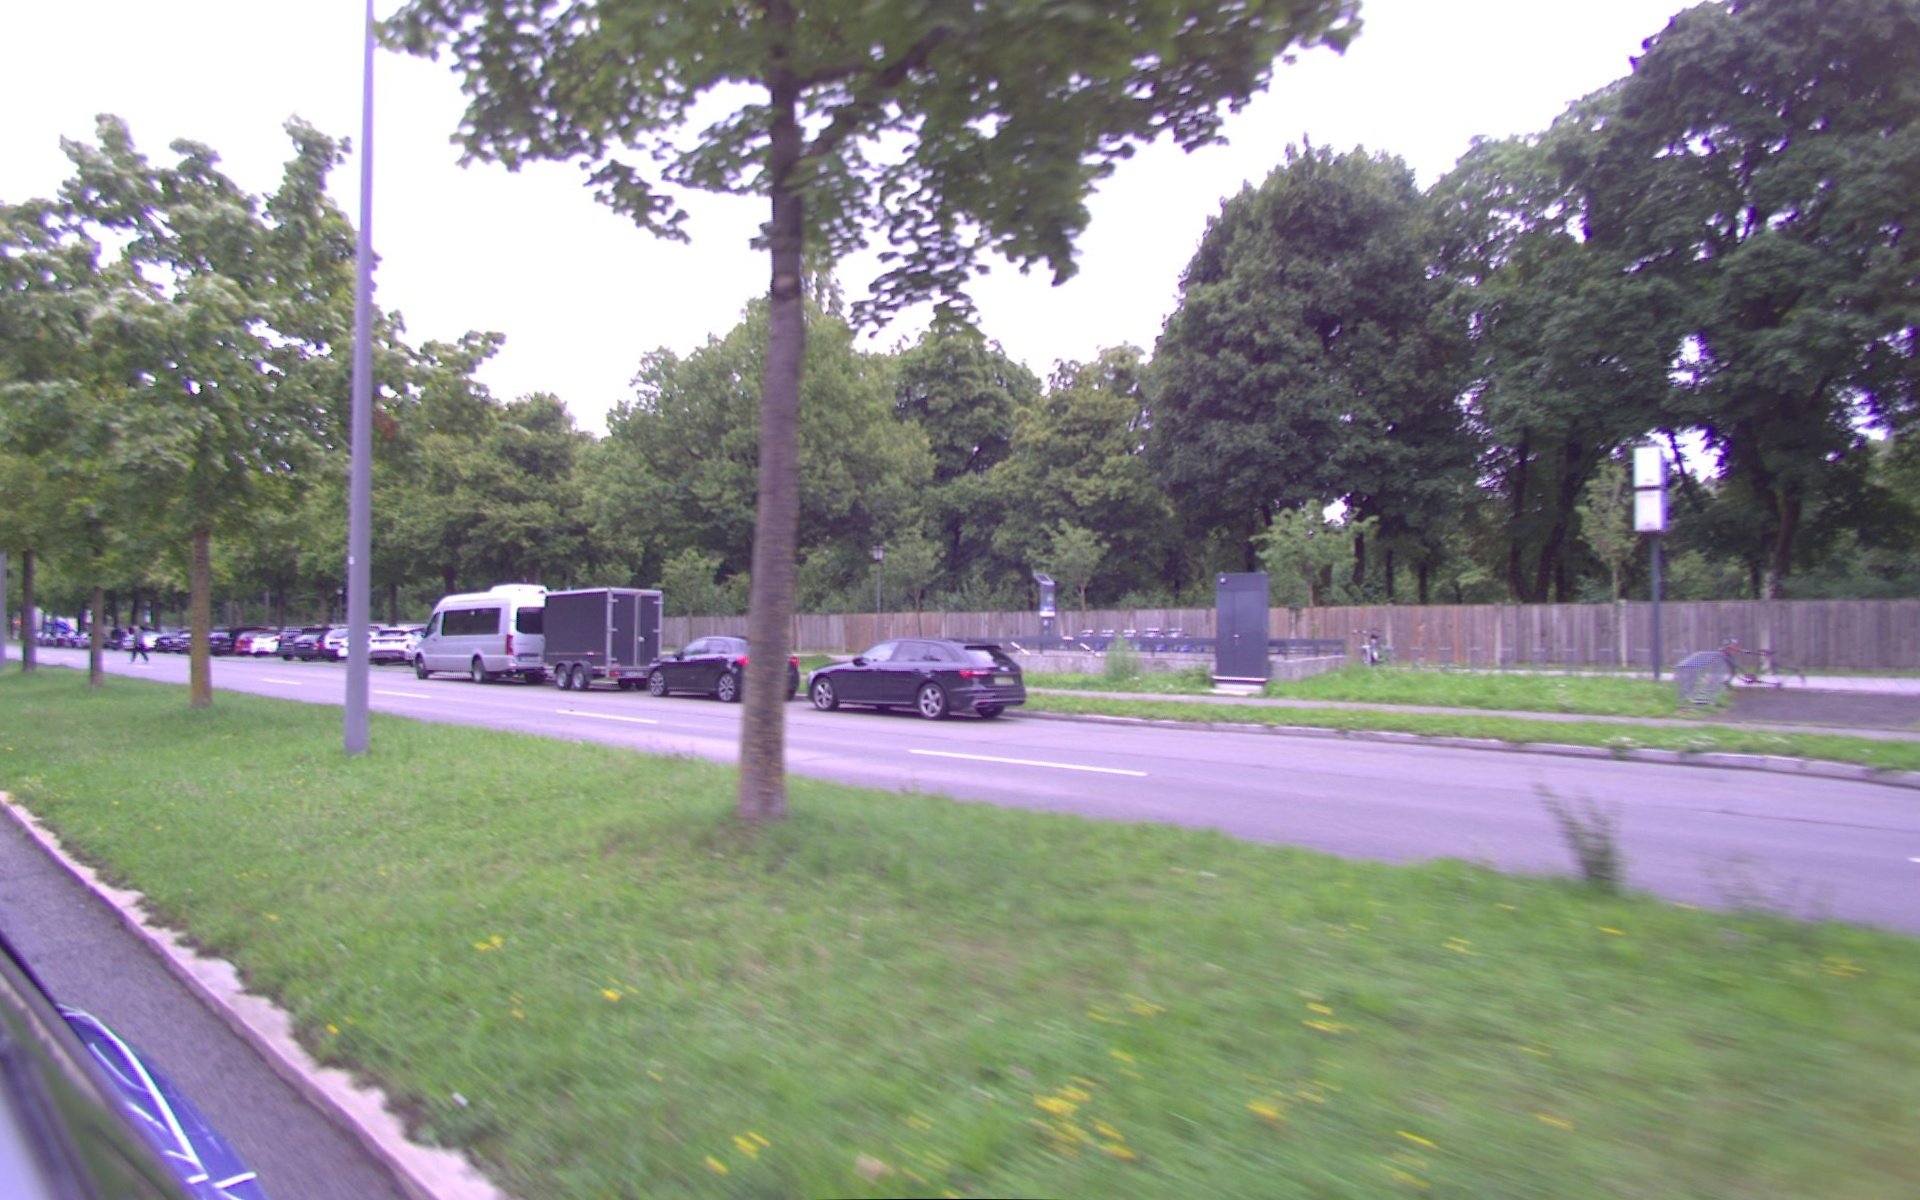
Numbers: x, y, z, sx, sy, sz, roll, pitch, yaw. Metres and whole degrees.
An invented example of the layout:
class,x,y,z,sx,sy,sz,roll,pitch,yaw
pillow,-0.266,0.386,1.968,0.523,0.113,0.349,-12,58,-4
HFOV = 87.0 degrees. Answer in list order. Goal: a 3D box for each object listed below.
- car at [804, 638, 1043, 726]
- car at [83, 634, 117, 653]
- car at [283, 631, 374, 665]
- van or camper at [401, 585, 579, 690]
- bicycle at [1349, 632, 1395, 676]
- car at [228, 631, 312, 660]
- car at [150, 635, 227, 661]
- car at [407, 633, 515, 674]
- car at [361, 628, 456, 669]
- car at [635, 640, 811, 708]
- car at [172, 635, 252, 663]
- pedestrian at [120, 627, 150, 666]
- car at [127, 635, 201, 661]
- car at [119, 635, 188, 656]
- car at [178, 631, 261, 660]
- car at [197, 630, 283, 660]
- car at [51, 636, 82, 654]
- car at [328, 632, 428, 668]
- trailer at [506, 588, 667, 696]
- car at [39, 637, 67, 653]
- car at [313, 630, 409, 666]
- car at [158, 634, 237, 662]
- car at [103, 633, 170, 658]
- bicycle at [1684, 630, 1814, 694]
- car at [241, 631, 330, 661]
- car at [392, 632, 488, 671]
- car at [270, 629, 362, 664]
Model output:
class,x,y,z,sx,sy,sz,roll,pitch,yaw
car,-0.765,1.440,18.730,4.429,1.436,1.781,-2,-4,41
car,-70.776,3.538,83.265,1.864,1.454,4.171,0,-1,-45
car,-31.691,2.392,50.920,1.780,1.497,3.992,-2,0,6
van or camper,-14.472,1.157,30.867,7.543,2.859,2.013,-2,-4,42
bicycle,9.496,1.225,23.287,0.432,0.937,1.801,-2,-1,40
car,-40.516,2.666,59.548,1.723,1.466,3.983,-2,0,13
car,-52.732,3.264,69.282,1.870,1.569,3.989,-2,0,9
car,-19.682,2.100,40.098,1.782,1.445,3.986,-1,-1,11
car,-24.240,2.103,44.656,1.779,1.635,3.994,-1,-1,5
car,-5.453,1.626,23.070,4.236,1.394,1.781,-2,-4,41
car,-47.967,3.111,65.010,1.870,1.569,3.989,-2,0,9
pedestrian,-37.015,2.087,45.428,0.859,1.711,0.773,2,-2,-29
car,-57.107,3.419,72.680,1.870,1.569,3.989,-2,0,9
car,-59.572,3.347,74.812,1.574,1.376,3.987,-1,-1,10
car,-45.577,2.758,62.389,1.870,1.569,3.989,-2,0,9
car,-43.273,2.710,60.946,1.873,1.569,3.983,-2,0,13
car,-82.585,4.142,93.523,1.864,1.454,4.171,0,-1,-45
car,-26.682,2.269,46.559,1.780,1.449,4.315,-1,-1,7
trailer,-9.956,1.113,26.834,4.656,2.610,1.995,-2,-4,41
car,-88.785,4.419,99.076,1.864,1.454,4.171,0,-1,-45
car,-29.116,2.309,49.342,1.780,1.585,4.315,-1,-1,7
car,-50.276,3.137,66.814,1.870,1.569,3.989,-2,0,9
car,-64.449,3.546,79.288,1.760,1.741,3.992,-1,-1,7
bicycle,14.269,1.098,18.339,1.825,1.108,0.427,-2,-1,42
car,-38.256,2.566,57.528,1.873,1.474,3.983,-2,0,13
car,-22.004,2.142,42.992,1.778,1.477,3.994,-1,-1,4
car,-33.733,2.420,53.134,1.783,1.599,3.985,-2,0,12
